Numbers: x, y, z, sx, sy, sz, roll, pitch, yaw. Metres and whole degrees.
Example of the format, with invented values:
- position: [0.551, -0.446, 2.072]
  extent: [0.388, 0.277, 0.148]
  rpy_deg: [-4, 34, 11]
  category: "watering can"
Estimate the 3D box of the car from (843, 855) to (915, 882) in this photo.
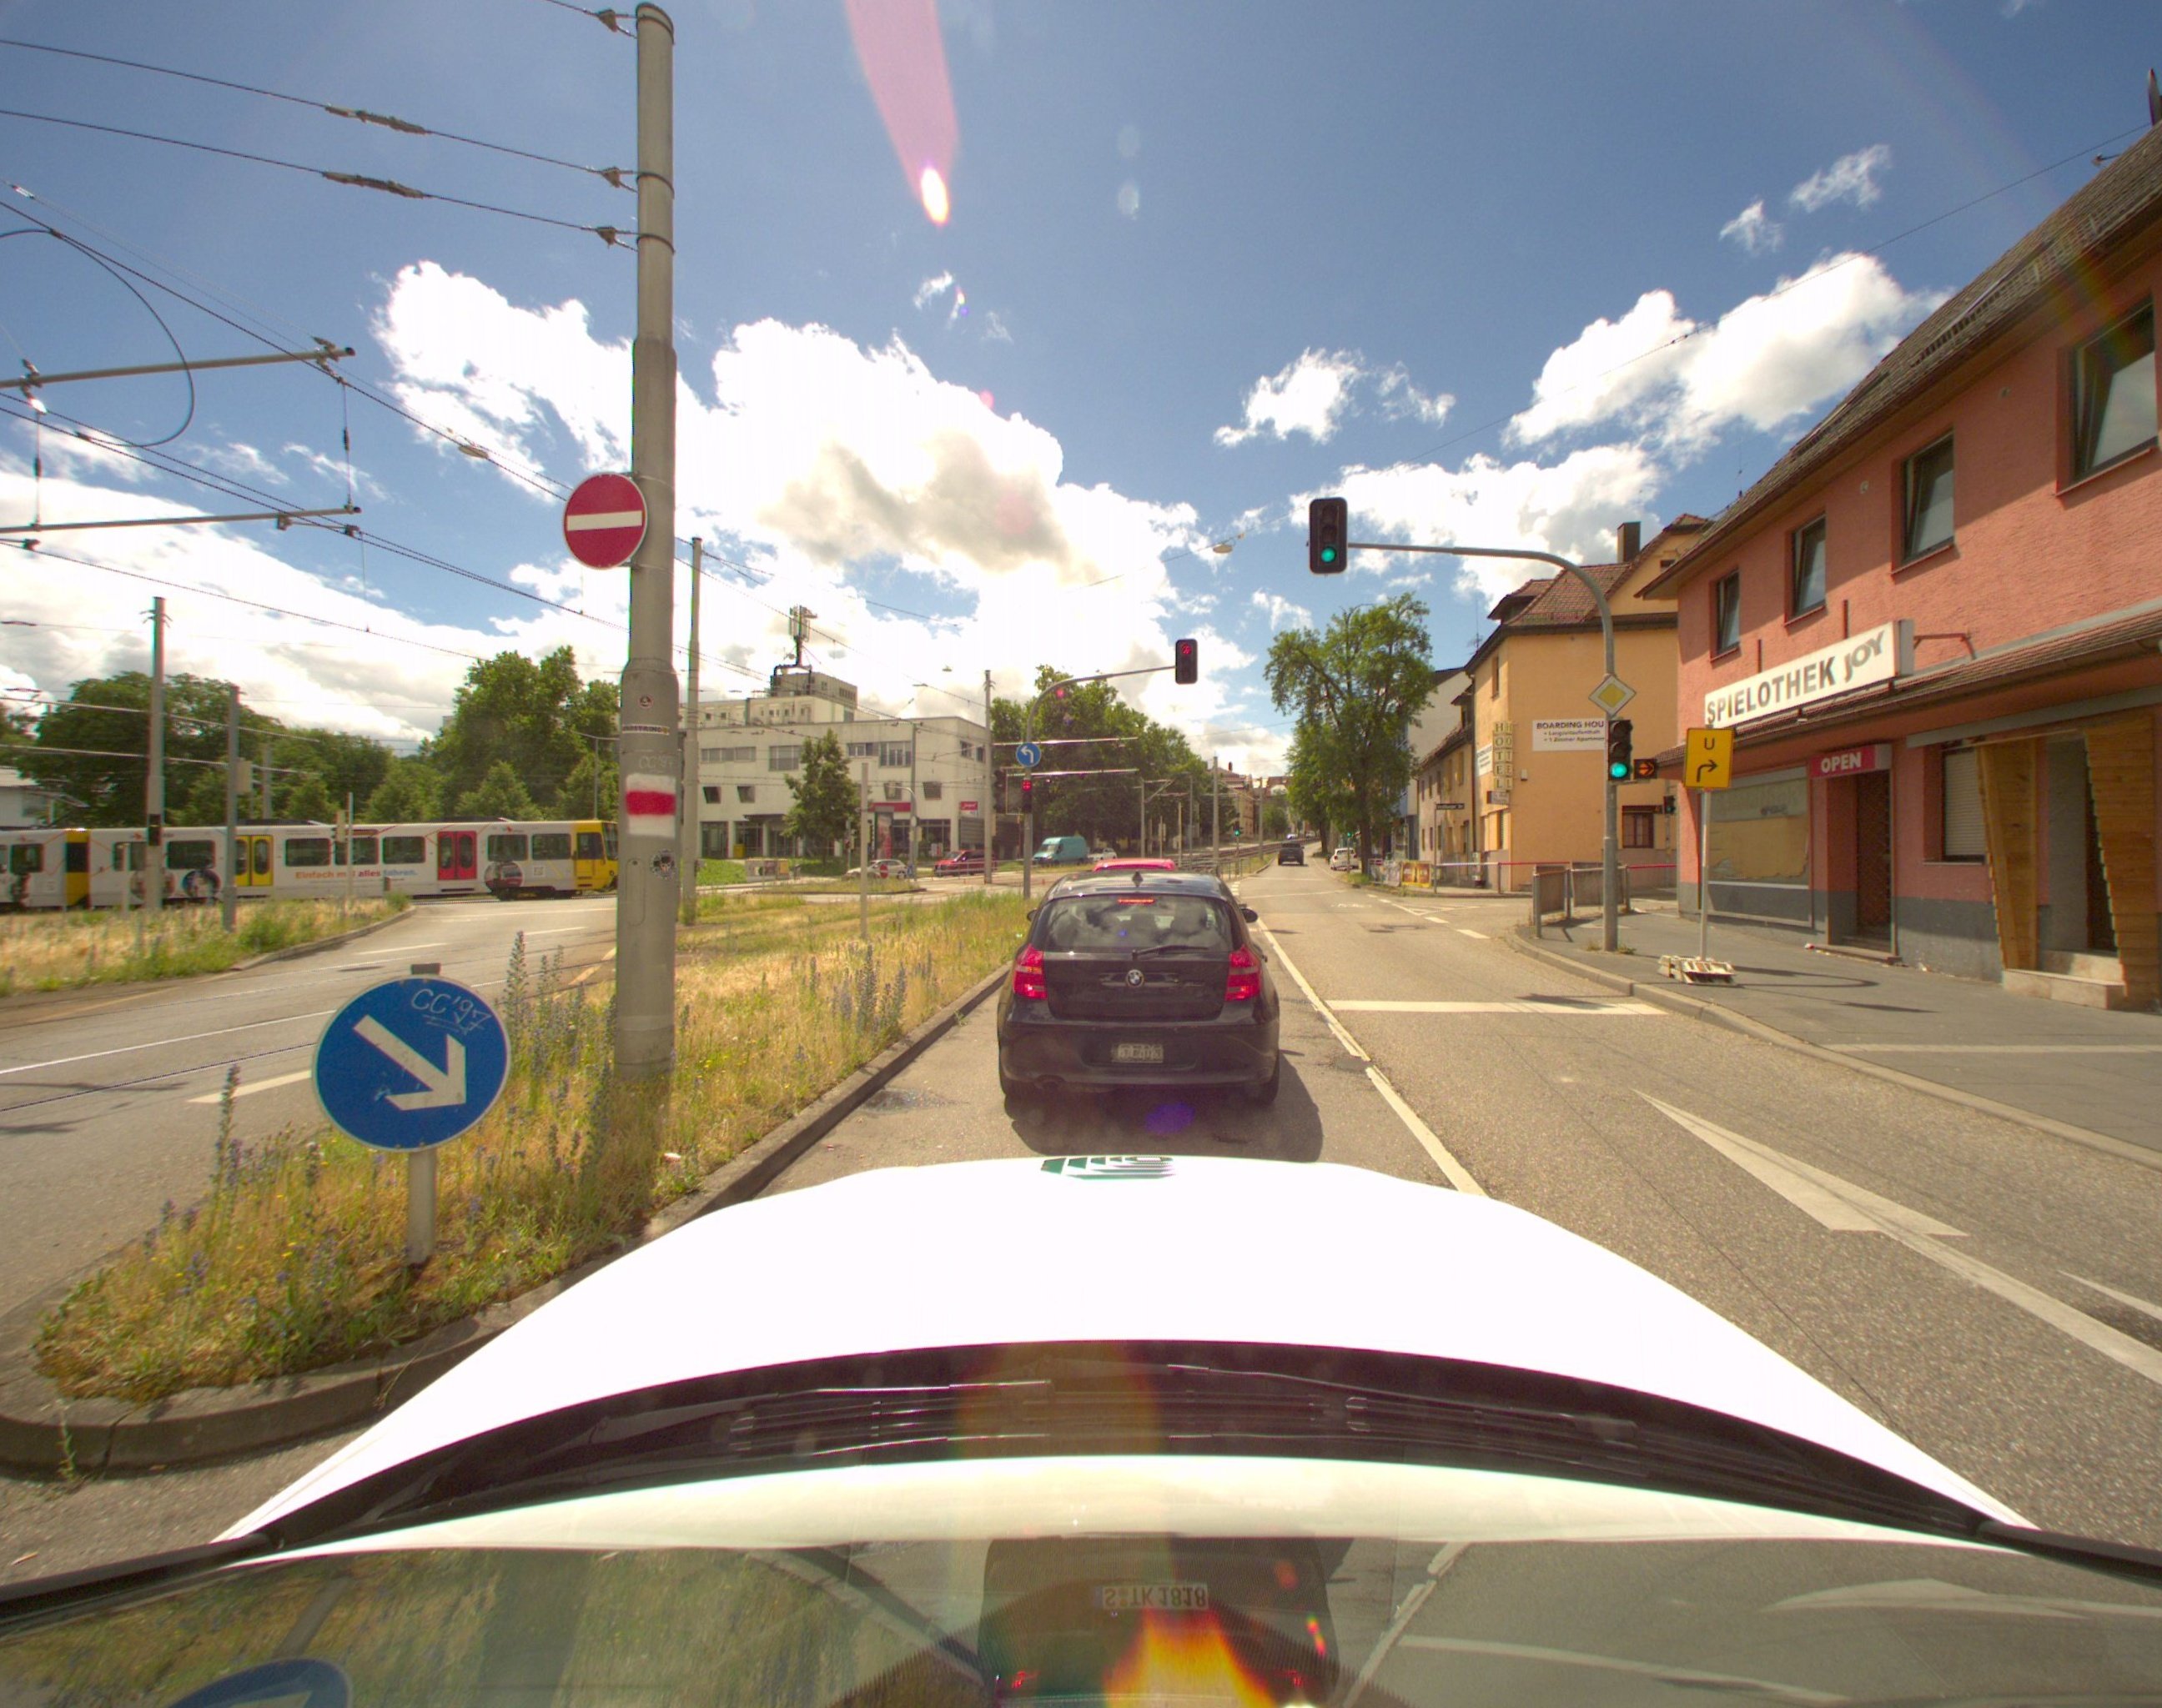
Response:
- position: [-13.185, 0.936, 53.385]
  extent: [4.193, 1.585, 1.836]
  rpy_deg: [-1, -1, -43]
  category: "car"

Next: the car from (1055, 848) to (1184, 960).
- position: [0.758, 0.704, 12.930]
  extent: [1.616, 1.473, 4.009]
  rpy_deg: [-2, -1, 8]
  category: "car"

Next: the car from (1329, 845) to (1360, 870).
- position: [17.999, 0.220, 55.666]
  extent: [1.774, 1.596, 4.016]
  rpy_deg: [-2, -1, 15]
  category: "car"

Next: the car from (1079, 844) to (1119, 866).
- position: [1.668, 0.098, 73.673]
  extent: [1.836, 1.928, 4.824]
  rpy_deg: [-2, -1, 24]
  category: "car"

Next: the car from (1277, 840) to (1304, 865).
- position: [16.966, -0.124, 65.989]
  extent: [1.984, 1.887, 5.170]
  rpy_deg: [-2, -1, 15]
  category: "car"

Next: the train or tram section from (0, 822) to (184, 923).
- position: [-49.369, 1.015, 34.445]
  extent: [20.465, 3.879, 3.767]
  rpy_deg: [-2, -1, 5]
  category: "train or tram section"

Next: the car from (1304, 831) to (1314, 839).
- position: [57.707, -4.800, 206.021]
  extent: [1.976, 2.014, 4.022]
  rpy_deg: [-2, -1, 23]
  category: "car"

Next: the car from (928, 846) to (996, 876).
- position: [-8.489, 0.476, 58.513]
  extent: [1.835, 2.009, 4.828]
  rpy_deg: [-3, -1, 40]
  category: "car"

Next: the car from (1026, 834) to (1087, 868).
- position: [-1.964, -0.239, 67.785]
  extent: [2.110, 2.654, 5.726]
  rpy_deg: [-2, -1, 33]
  category: "car"

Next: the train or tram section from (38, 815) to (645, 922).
- position: [-30.435, 0.484, 35.206]
  extent: [20.008, 3.814, 3.744]
  rpy_deg: [-1, -1, -13]
  category: "train or tram section"

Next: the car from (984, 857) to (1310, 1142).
- position: [0.342, 0.799, 6.323]
  extent: [1.696, 1.452, 3.999]
  rpy_deg: [-2, -1, 0]
  category: "car"

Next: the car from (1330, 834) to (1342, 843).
- position: [51.115, -3.095, 163.318]
  extent: [1.977, 1.662, 4.020]
  rpy_deg: [-2, -1, 20]
  category: "car"

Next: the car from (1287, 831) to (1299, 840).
- position: [48.669, -4.258, 186.917]
  extent: [1.976, 2.014, 4.022]
  rpy_deg: [-2, -1, 23]
  category: "car"
